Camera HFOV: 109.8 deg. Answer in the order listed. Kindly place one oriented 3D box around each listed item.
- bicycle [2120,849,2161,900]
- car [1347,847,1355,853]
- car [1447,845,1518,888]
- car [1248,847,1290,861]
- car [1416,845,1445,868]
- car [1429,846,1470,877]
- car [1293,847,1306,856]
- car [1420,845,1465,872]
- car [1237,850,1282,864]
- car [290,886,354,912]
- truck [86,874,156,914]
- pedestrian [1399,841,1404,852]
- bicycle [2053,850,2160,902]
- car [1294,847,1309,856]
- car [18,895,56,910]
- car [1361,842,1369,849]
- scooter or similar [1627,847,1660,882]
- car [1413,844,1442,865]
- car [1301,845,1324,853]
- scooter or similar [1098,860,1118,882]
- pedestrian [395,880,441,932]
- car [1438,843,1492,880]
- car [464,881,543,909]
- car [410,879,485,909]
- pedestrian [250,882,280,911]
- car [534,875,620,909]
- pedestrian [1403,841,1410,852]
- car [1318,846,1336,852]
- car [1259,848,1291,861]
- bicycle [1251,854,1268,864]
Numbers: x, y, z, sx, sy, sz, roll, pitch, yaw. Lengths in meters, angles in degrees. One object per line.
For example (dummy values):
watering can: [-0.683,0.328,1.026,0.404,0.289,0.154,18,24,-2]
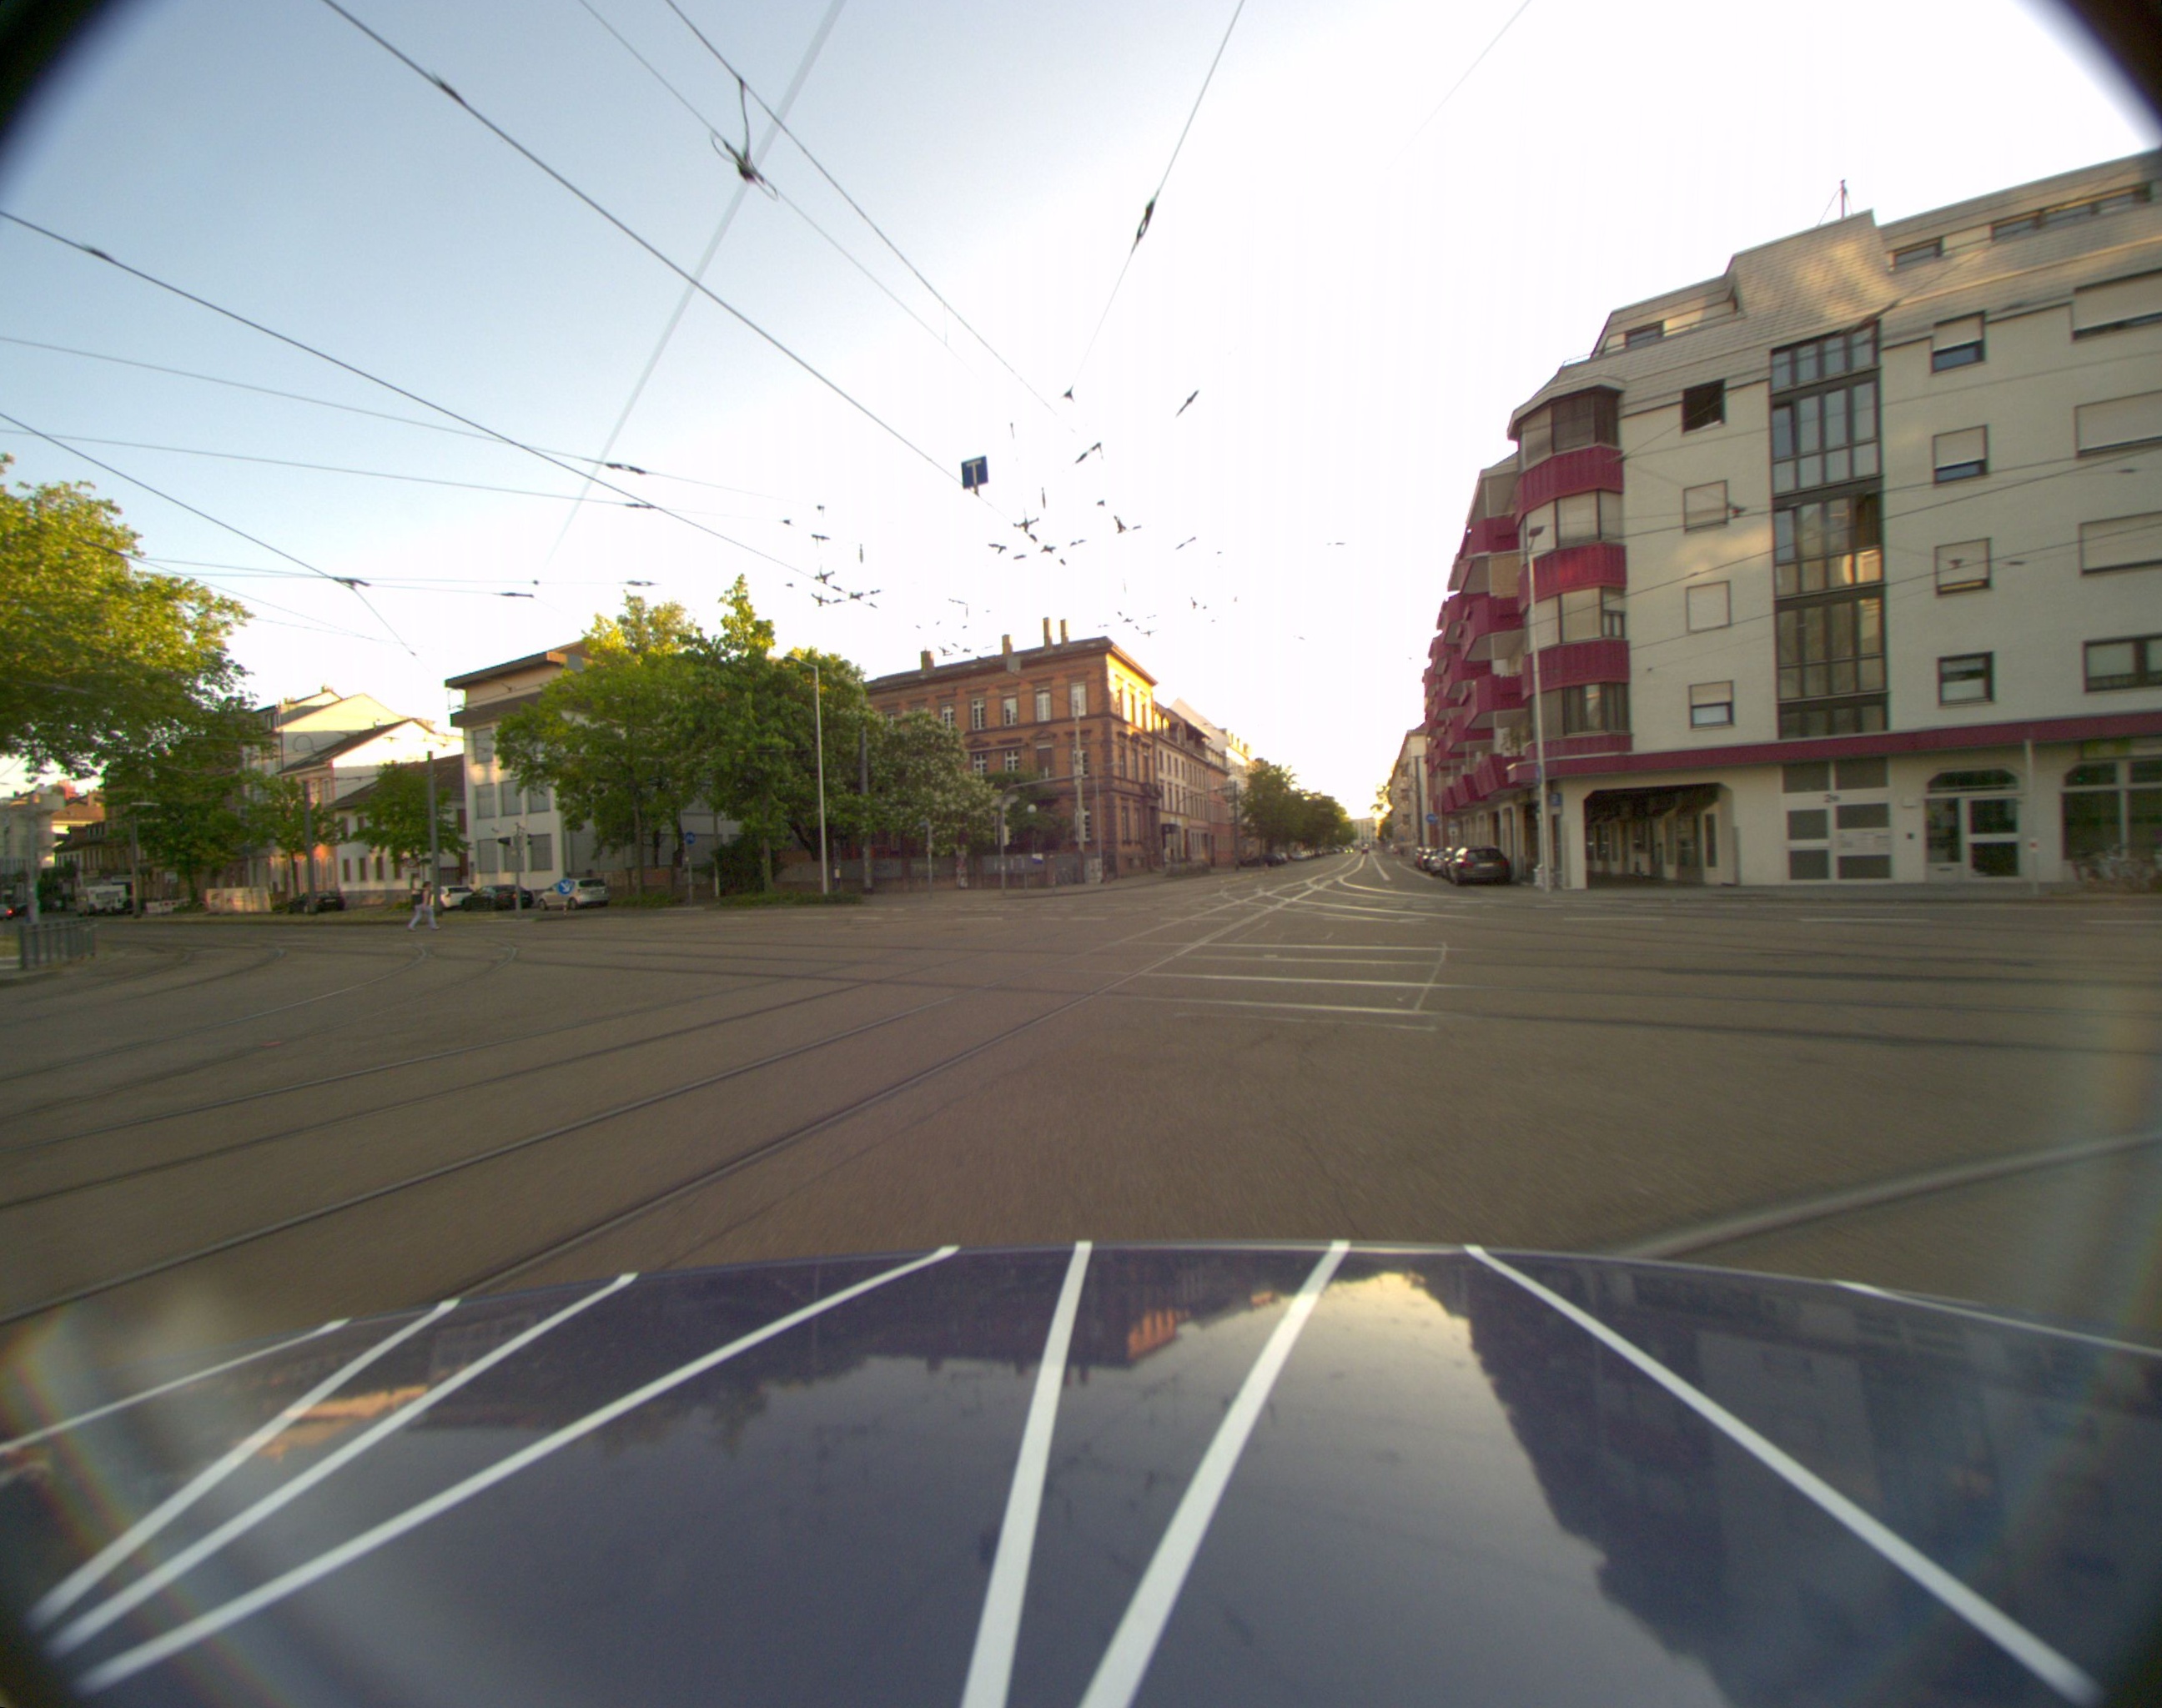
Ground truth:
bicycle: [21.388,0.396,14.843,0.672,0.952,1.844,-2,0,33]
car: [78.699,-1.197,221.750,1.996,1.674,4.006,-3,-1,21]
car: [15.593,0.423,29.731,1.853,1.448,5.093,-2,0,21]
car: [22.865,0.001,92.511,4.456,1.507,2.063,-1,0,-2]
car: [24.864,0.168,54.118,1.613,1.470,3.484,-4,-1,22]
car: [19.655,0.380,40.667,1.693,1.405,4.684,-4,-1,23]
car: [33.281,-0.357,115.636,1.620,1.373,3.781,0,1,21]
car: [22.931,0.245,48.344,1.996,1.470,4.488,-4,-1,19]
car: [20.290,0.350,86.477,4.617,1.449,1.710,-1,0,-4]
car: [-51.872,3.054,51.904,3.990,1.543,1.918,-2,2,28]
truck: [-90.731,3.801,71.772,8.841,3.435,3.211,-2,1,33]
pedestrian: [47.500,-1.083,112.654,0.591,1.600,0.812,-2,1,19]
bicycle: [20.638,0.427,15.340,0.672,0.952,1.844,-2,0,33]
car: [35.148,-0.453,120.943,1.782,1.373,4.698,0,1,23]
car: [-120.099,5.574,87.425,3.990,1.636,2.003,-2,0,29]
car: [66.273,-1.918,177.360,1.561,1.549,3.760,-1,0,19]
scooter or similar: [19.590,0.359,26.491,0.549,1.159,1.482,-2,0,22]
car: [27.247,0.015,59.848,1.719,1.546,4.209,-4,0,21]
car: [47.659,-1.022,156.510,4.387,1.455,1.720,-1,0,3]
scooter or similar: [1.585,0.978,44.791,0.642,1.259,1.585,0,1,22]
pedestrian: [-21.620,1.684,24.794,0.754,1.607,0.831,-2,1,24]
car: [17.742,0.326,35.257,1.790,1.499,4.206,-4,0,21]
car: [-31.840,2.263,41.883,3.990,1.357,1.918,-2,2,28]
car: [-37.087,2.364,44.497,3.990,1.543,1.918,-2,2,28]
pedestrian: [-58.830,3.078,54.807,1.159,2.002,0.892,-3,1,-26]
car: [-25.848,1.937,38.958,3.990,1.543,1.918,-2,2,28]
pedestrian: [48.266,-1.136,112.544,0.796,1.691,0.983,-2,1,19]
car: [71.282,-1.505,219.898,4.635,1.508,1.810,-1,-1,-6]
car: [24.865,0.030,97.257,3.565,1.507,1.743,-1,0,-4]
bicycle: [19.812,0.577,84.424,1.691,1.095,0.929,0,1,20]
